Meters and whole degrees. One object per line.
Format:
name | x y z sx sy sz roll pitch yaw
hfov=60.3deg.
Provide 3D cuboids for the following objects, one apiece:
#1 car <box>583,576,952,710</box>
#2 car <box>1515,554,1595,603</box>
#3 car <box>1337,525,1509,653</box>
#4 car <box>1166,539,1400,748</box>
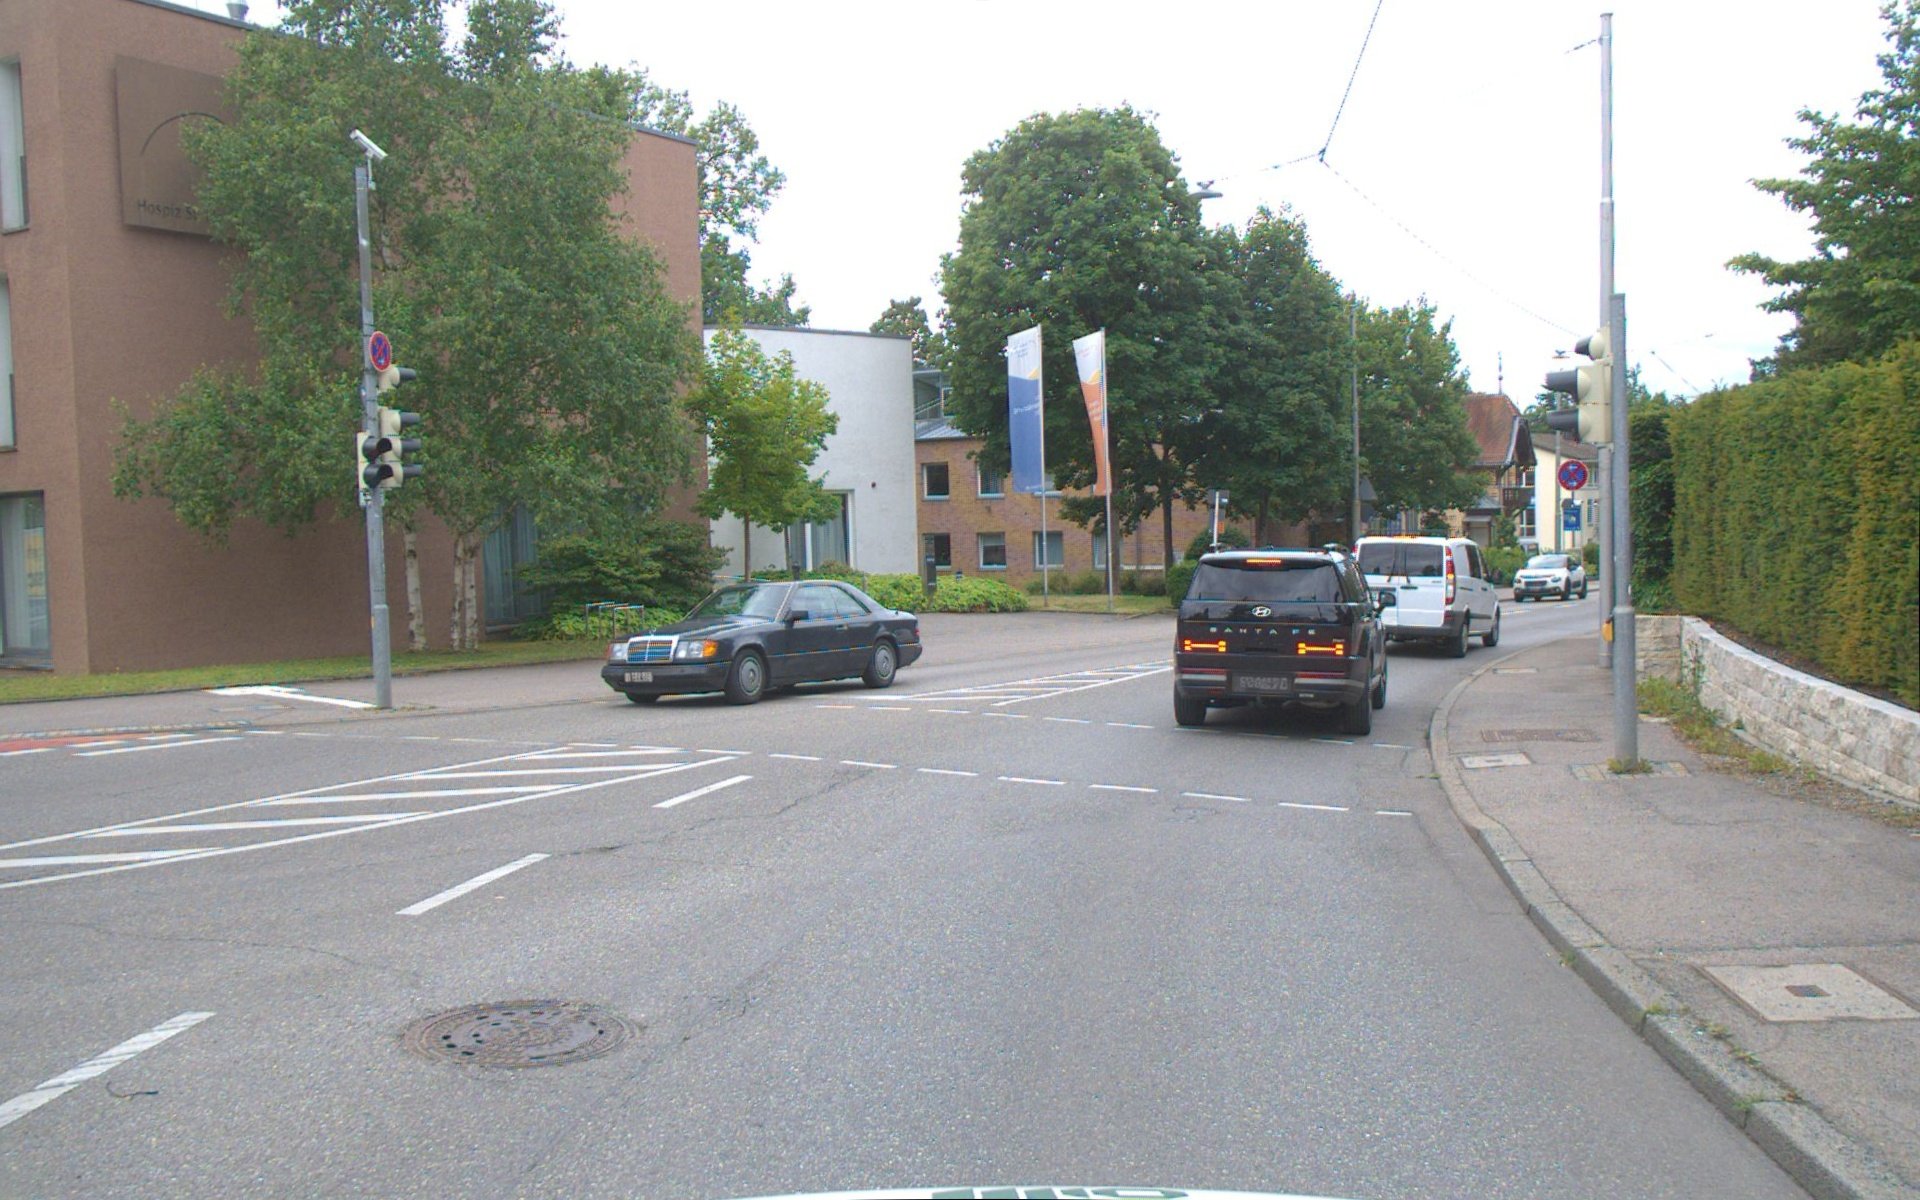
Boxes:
car | -2.142 0.441 19.960 1.812 1.351 4.857 -2 1 31
car | 19.559 -0.722 54.289 1.665 1.465 3.748 -2 1 32
car | 7.912 -0.189 28.006 1.920 1.990 4.217 1 0 28
car | 3.423 0.302 16.905 1.916 1.742 4.227 2 3 16
